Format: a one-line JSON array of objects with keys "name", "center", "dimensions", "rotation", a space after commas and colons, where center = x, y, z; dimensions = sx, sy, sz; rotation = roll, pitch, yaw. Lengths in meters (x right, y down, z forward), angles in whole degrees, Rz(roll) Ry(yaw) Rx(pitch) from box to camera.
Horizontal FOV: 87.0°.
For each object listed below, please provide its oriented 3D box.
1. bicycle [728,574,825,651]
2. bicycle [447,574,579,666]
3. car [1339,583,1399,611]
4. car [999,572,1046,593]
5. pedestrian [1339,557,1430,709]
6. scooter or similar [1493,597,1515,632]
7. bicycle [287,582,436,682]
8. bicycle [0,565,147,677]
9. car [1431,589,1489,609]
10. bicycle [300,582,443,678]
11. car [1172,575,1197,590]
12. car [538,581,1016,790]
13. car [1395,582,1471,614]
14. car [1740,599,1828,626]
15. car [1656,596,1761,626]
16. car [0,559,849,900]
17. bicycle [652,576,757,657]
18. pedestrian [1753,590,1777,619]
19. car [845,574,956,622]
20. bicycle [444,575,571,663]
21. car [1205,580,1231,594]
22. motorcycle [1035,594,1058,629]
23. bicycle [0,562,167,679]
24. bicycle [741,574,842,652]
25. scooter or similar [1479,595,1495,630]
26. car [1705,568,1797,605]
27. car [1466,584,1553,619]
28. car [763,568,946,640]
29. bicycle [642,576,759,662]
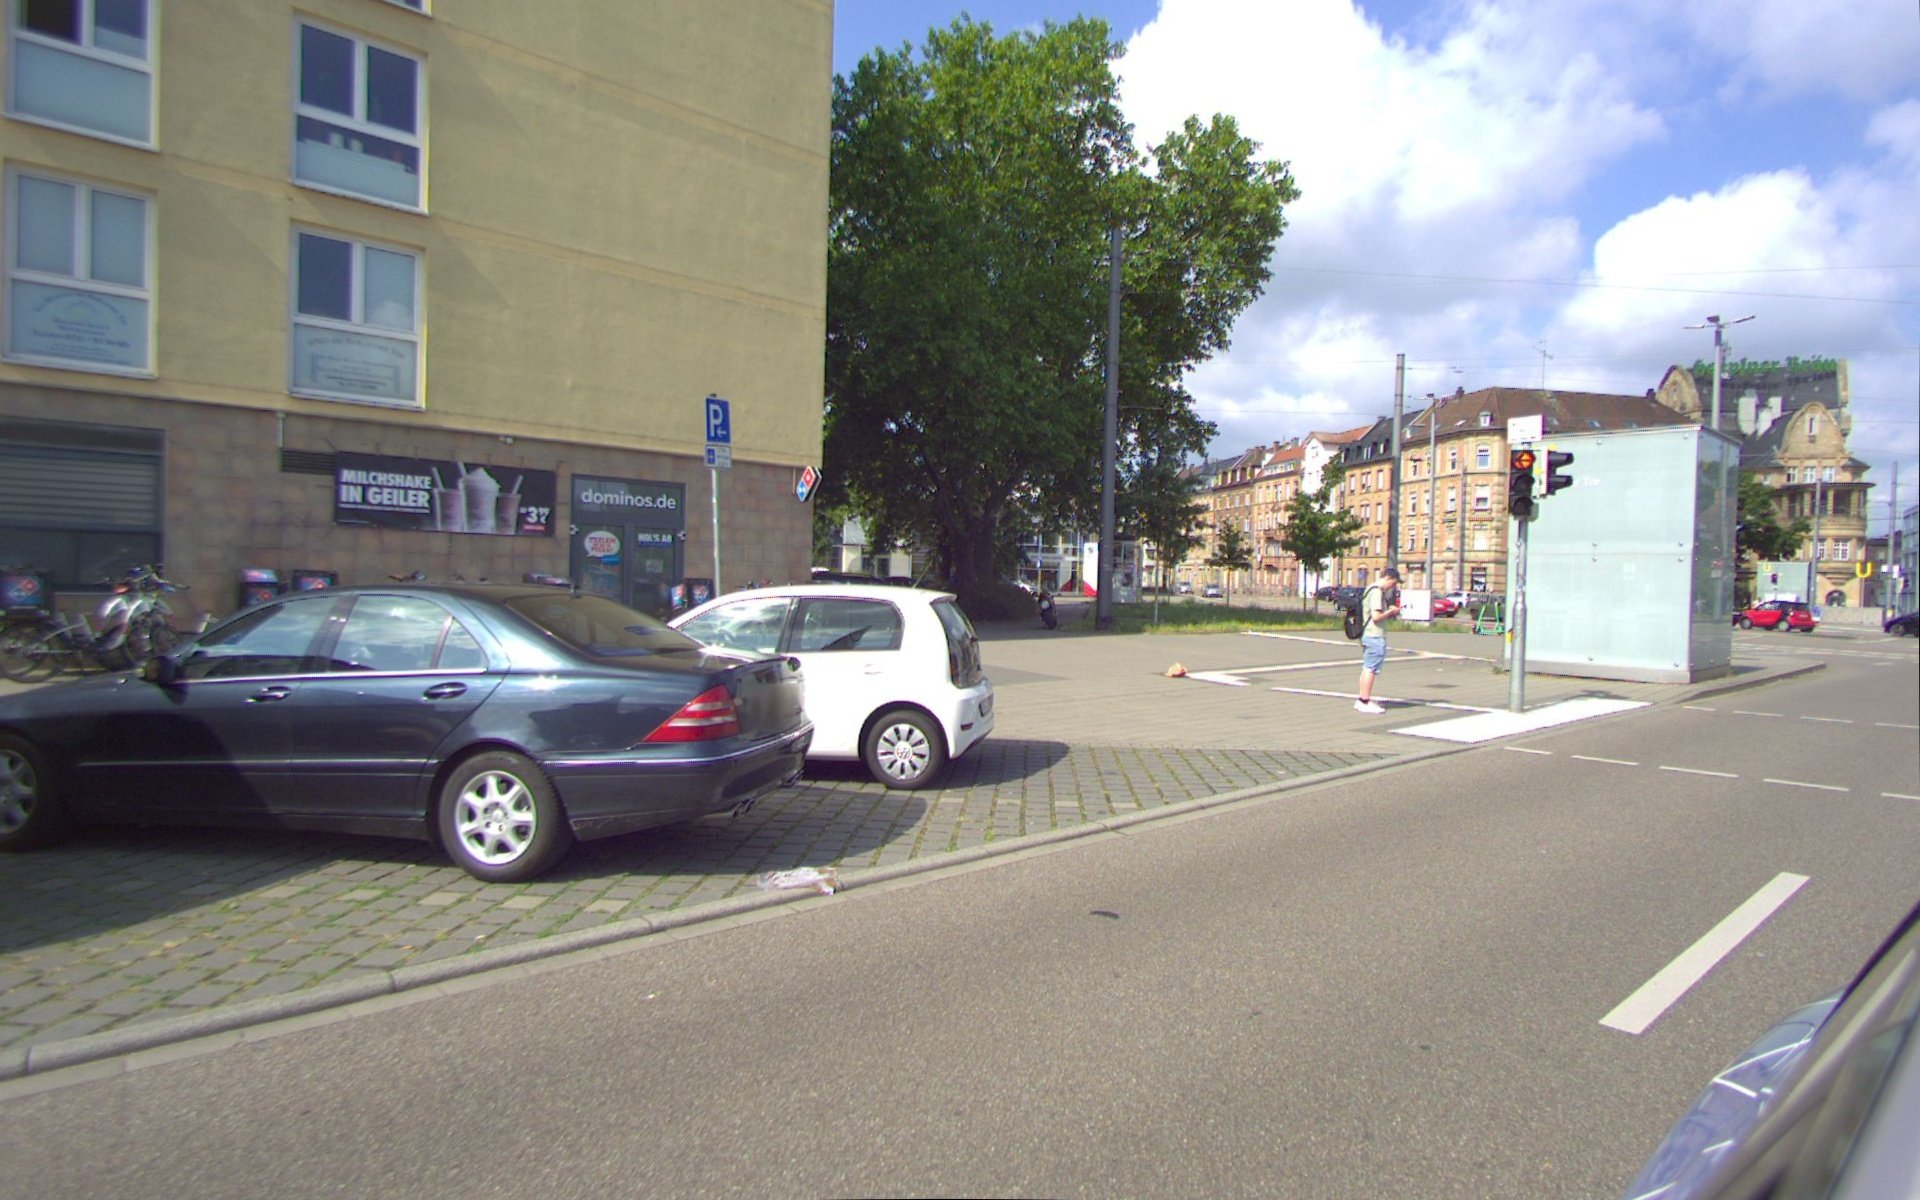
[{"name": "bicycle", "center": [-3.221, 0.208, 17.814], "dimensions": [1.614, 1.288, 0.488], "rotation": [0, 2, -36]}, {"name": "bicycle", "center": [-6.277, 0.260, 14.250], "dimensions": [1.614, 1.216, 0.549], "rotation": [0, 2, -36]}, {"name": "car", "center": [26.064, -0.221, 64.670], "dimensions": [1.960, 1.571, 4.006], "rotation": [-2, 3, -5]}, {"name": "car", "center": [5.070, -1.435, 82.357], "dimensions": [1.887, 1.571, 4.005], "rotation": [1, 2, -30]}, {"name": "pedestrian", "center": [5.239, 0.381, 12.468], "dimensions": [0.985, 1.781, 0.779], "rotation": [-1, 3, 26]}, {"name": "scooter or similar", "center": [18.949, 0.483, 35.262], "dimensions": [0.375, 1.172, 0.927], "rotation": [1, 2, 11]}, {"name": "bicycle", "center": [-7.729, 0.396, 13.101], "dimensions": [1.614, 1.216, 0.488], "rotation": [0, 2, -36]}, {"name": "bicycle", "center": [-10.328, 0.222, 11.549], "dimensions": [1.616, 1.216, 0.487], "rotation": [0, 2, -41]}, {"name": "car", "center": [39.454, -0.080, 79.977], "dimensions": [1.649, 1.464, 4.241], "rotation": [-2, 1, -15]}, {"name": "bicycle", "center": [-7.913, 0.380, 13.640], "dimensions": [1.614, 1.216, 0.488], "rotation": [0, 2, -36]}, {"name": "car", "center": [27.595, -2.152, 124.617], "dimensions": [1.750, 1.727, 4.006], "rotation": [1, 2, -7]}, {"name": "car", "center": [-1.347, 0.585, 8.193], "dimensions": [3.454, 1.458, 1.715], "rotation": [0, 1, 9]}, {"name": "car", "center": [26.552, -0.138, 56.948], "dimensions": [1.960, 1.537, 4.007], "rotation": [-3, 3, -8]}, {"name": "car", "center": [41.000, 0.601, 50.395], "dimensions": [1.576, 1.229, 3.017], "rotation": [-2, 1, -17]}, {"name": "car", "center": [43.014, 0.611, 58.265], "dimensions": [1.958, 1.415, 4.520], "rotation": [-2, 3, -21]}, {"name": "car", "center": [-3.304, 0.543, 5.891], "dimensions": [4.980, 1.487, 1.887], "rotation": [1, 2, 8]}, {"name": "bicycle", "center": [-4.240, 0.258, 16.834], "dimensions": [1.614, 1.288, 0.488], "rotation": [0, 2, -36]}, {"name": "pedestrian", "center": [47.520, 0.242, 59.736], "dimensions": [0.781, 1.662, 0.709], "rotation": [1, 1, -2]}, {"name": "car", "center": [-2.052, -0.095, 34.059], "dimensions": [1.764, 1.437, 3.998], "rotation": [1, 2, -38]}, {"name": "bicycle", "center": [-6.574, 0.254, 14.729], "dimensions": [1.614, 1.216, 0.488], "rotation": [0, 2, -36]}, {"name": "car", "center": [26.778, -1.407, 105.191], "dimensions": [1.965, 1.348, 3.995], "rotation": [2, 2, 5]}, {"name": "motorcycle", "center": [2.504, 0.316, 29.071], "dimensions": [0.595, 0.914, 1.892], "rotation": [-1, 2, 6]}, {"name": "bicycle", "center": [-9.817, 0.208, 11.204], "dimensions": [1.616, 1.216, 0.487], "rotation": [0, 2, -41]}, {"name": "bicycle", "center": [-2.883, 0.209, 17.393], "dimensions": [1.614, 1.288, 0.531], "rotation": [0, 2, -36]}, {"name": "scooter or similar", "center": [18.373, 0.438, 35.318], "dimensions": [0.377, 1.172, 0.923], "rotation": [1, 2, 22]}, {"name": "car", "center": [47.181, -0.819, 60.390], "dimensions": [1.966, 2.038, 3.993], "rotation": [-5, 3, -41]}, {"name": "car", "center": [27.835, 0.047, 51.406], "dimensions": [1.789, 1.531, 4.007], "rotation": [-3, 3, -8]}, {"name": "car", "center": [-2.648, 0.057, 26.071], "dimensions": [4.318, 1.604, 1.996], "rotation": [-3, 2, -42]}, {"name": "bicycle", "center": [-4.121, 0.281, 16.208], "dimensions": [0.486, 1.288, 1.862], "rotation": [2, 2, 41]}]
